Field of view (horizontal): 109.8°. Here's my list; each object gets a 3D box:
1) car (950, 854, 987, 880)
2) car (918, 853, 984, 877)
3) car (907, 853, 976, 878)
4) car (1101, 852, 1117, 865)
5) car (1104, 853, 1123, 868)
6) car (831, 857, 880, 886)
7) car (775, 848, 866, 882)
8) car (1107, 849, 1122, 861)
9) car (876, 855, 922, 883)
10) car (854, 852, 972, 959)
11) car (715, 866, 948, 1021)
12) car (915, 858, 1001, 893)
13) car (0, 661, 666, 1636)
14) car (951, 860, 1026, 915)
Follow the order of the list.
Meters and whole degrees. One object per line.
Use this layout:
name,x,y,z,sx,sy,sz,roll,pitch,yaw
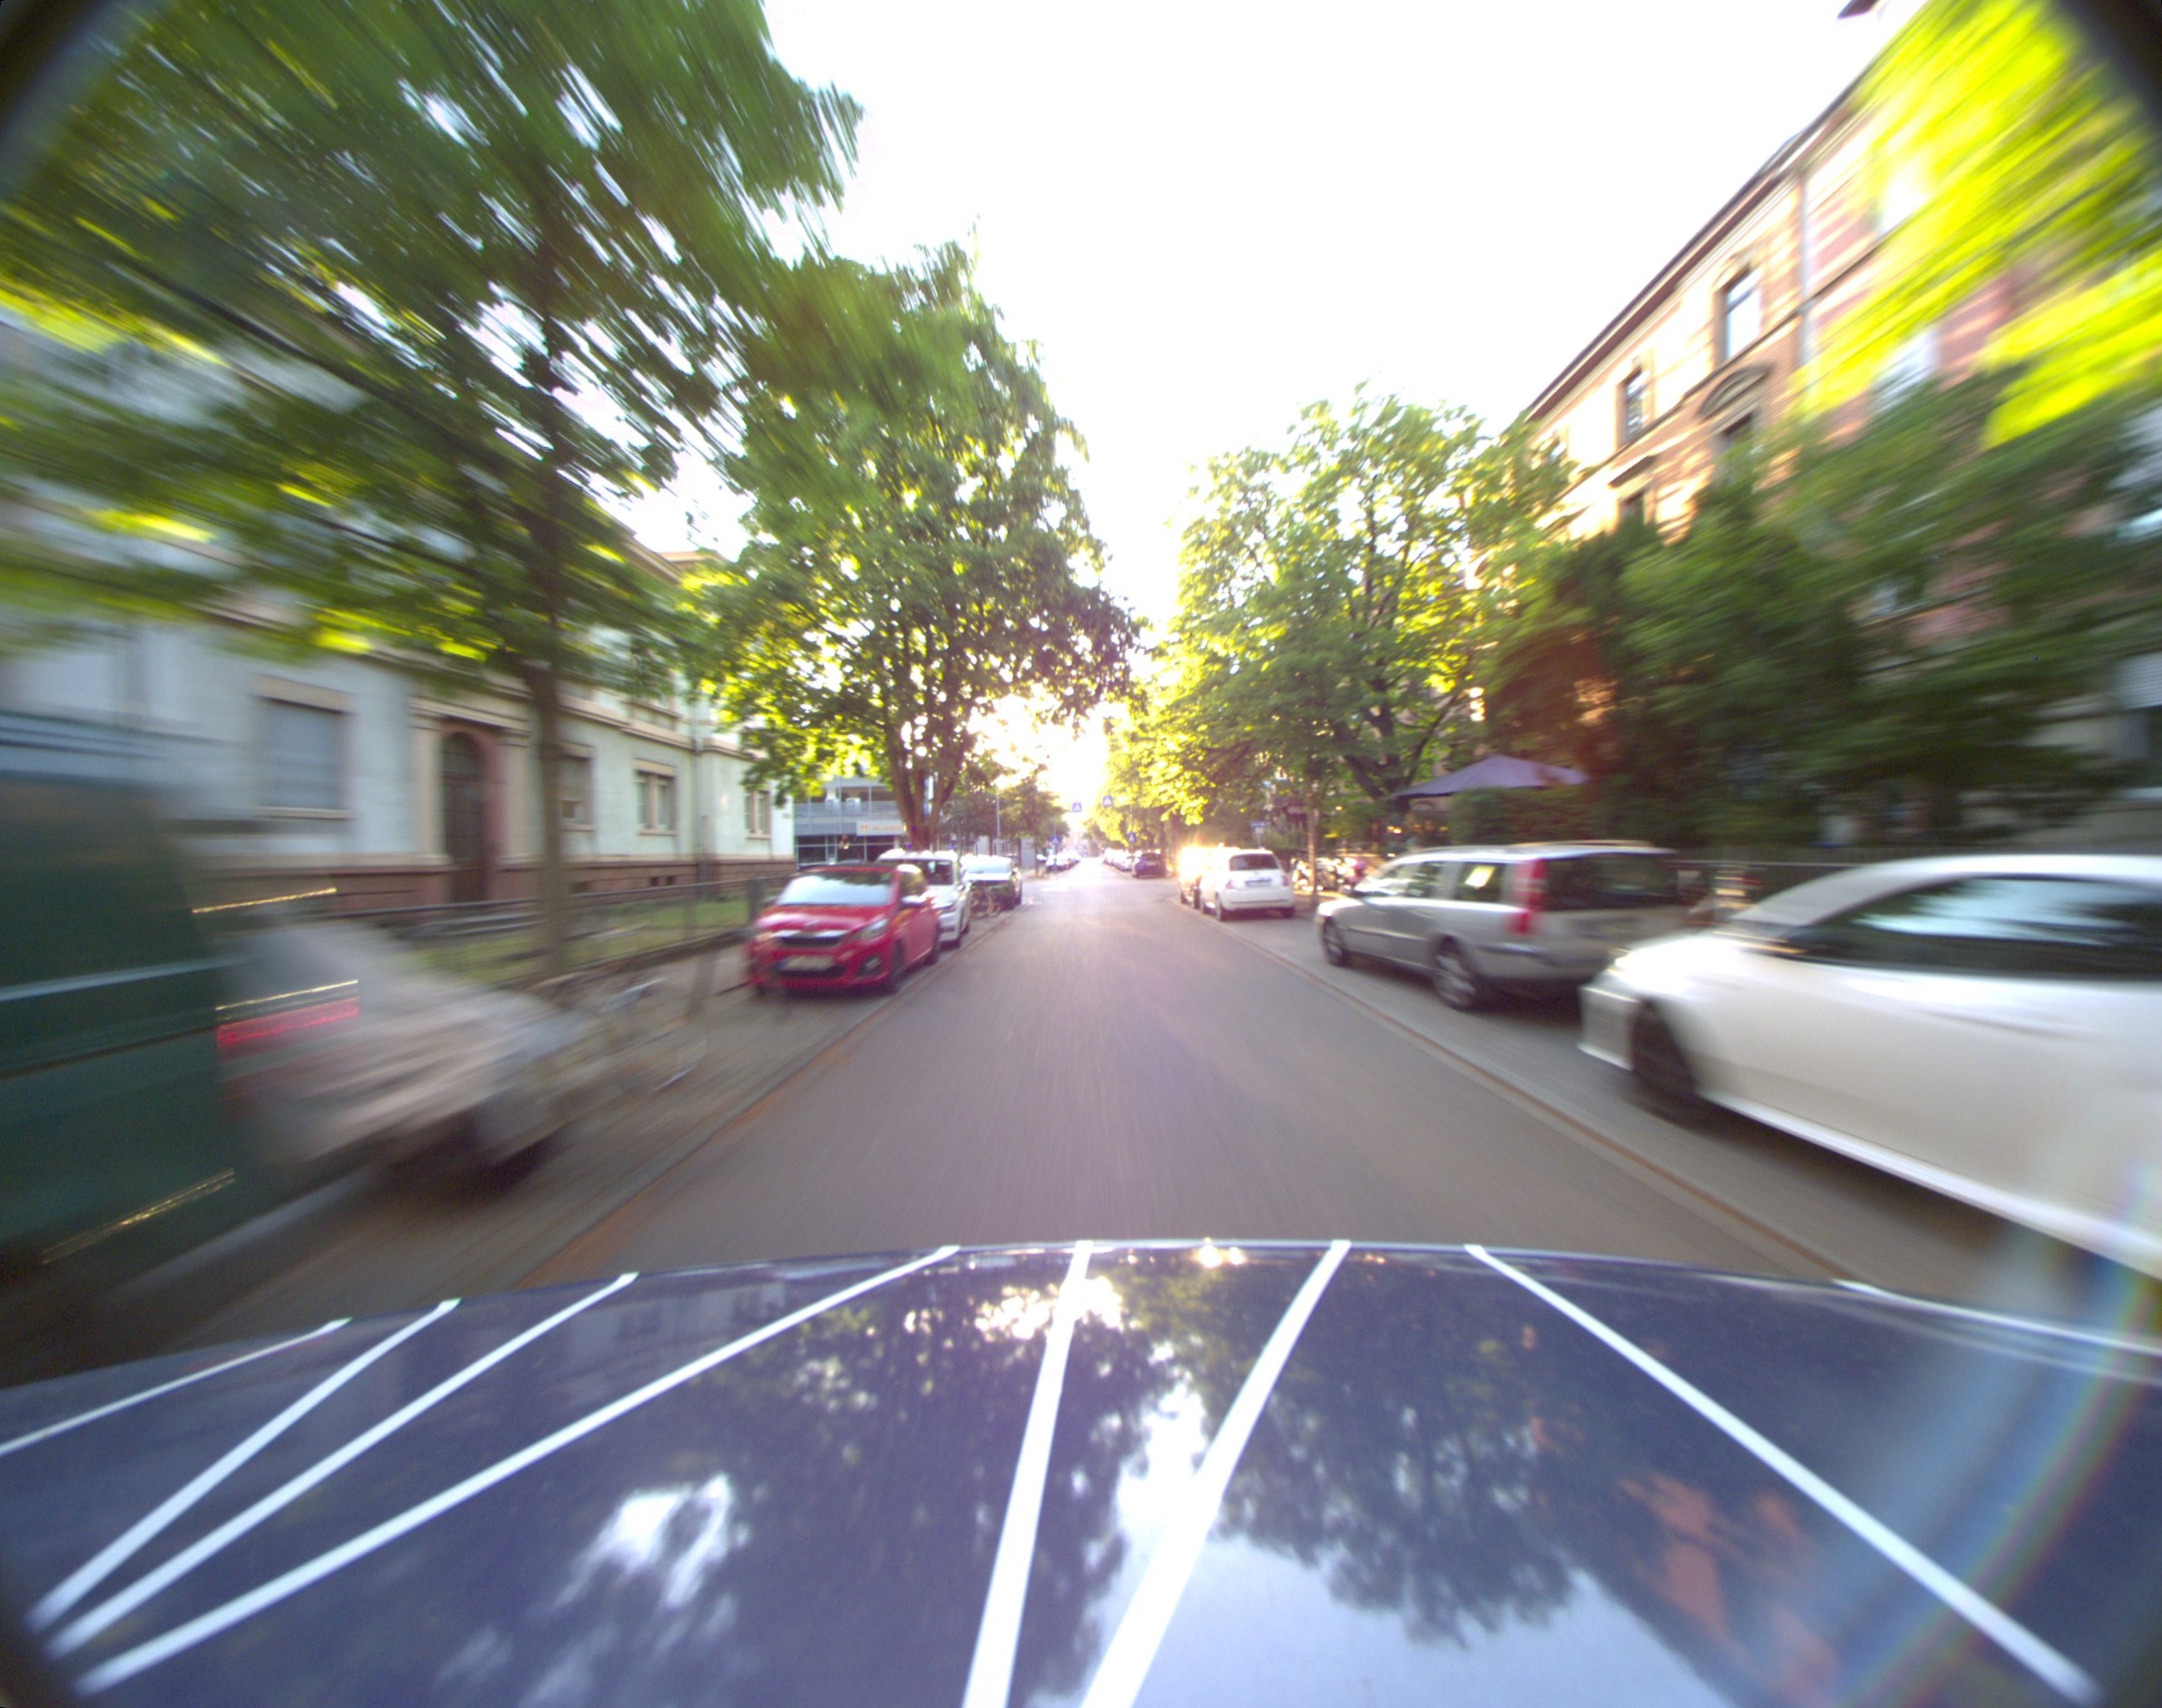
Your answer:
car,-7.236,0.843,49.181,1.767,1.563,3.902,-1,0,0
car,-9.772,0.833,57.386,4.588,1.606,1.872,-2,0,-1
car,-10.009,0.837,54.819,4.588,1.634,1.872,-2,0,-1
car,3.447,0.559,94.828,1.617,1.433,4.104,-3,0,-2
car,3.341,0.635,79.141,1.617,1.433,4.310,-3,0,-2
car,-14.450,1.106,48.925,1.704,1.583,3.693,-2,2,5
car,-12.888,0.533,37.716,3.939,1.536,1.633,-1,1,4
car,4.306,0.157,99.522,1.617,1.433,4.104,-3,0,-2
car,-11.640,0.922,48.785,1.716,1.596,4.127,-2,1,3
car,-2.940,0.837,14.032,1.669,1.668,4.117,1,0,-6
car,-2.800,0.922,9.398,1.668,1.491,3.694,1,0,0
car,-5.633,0.991,34.521,1.816,1.492,4.161,0,-1,-44
car,-3.237,0.607,1.695,1.959,2.046,4.830,1,0,0
car,-2.800,0.982,23.724,1.735,1.547,3.963,1,0,1
